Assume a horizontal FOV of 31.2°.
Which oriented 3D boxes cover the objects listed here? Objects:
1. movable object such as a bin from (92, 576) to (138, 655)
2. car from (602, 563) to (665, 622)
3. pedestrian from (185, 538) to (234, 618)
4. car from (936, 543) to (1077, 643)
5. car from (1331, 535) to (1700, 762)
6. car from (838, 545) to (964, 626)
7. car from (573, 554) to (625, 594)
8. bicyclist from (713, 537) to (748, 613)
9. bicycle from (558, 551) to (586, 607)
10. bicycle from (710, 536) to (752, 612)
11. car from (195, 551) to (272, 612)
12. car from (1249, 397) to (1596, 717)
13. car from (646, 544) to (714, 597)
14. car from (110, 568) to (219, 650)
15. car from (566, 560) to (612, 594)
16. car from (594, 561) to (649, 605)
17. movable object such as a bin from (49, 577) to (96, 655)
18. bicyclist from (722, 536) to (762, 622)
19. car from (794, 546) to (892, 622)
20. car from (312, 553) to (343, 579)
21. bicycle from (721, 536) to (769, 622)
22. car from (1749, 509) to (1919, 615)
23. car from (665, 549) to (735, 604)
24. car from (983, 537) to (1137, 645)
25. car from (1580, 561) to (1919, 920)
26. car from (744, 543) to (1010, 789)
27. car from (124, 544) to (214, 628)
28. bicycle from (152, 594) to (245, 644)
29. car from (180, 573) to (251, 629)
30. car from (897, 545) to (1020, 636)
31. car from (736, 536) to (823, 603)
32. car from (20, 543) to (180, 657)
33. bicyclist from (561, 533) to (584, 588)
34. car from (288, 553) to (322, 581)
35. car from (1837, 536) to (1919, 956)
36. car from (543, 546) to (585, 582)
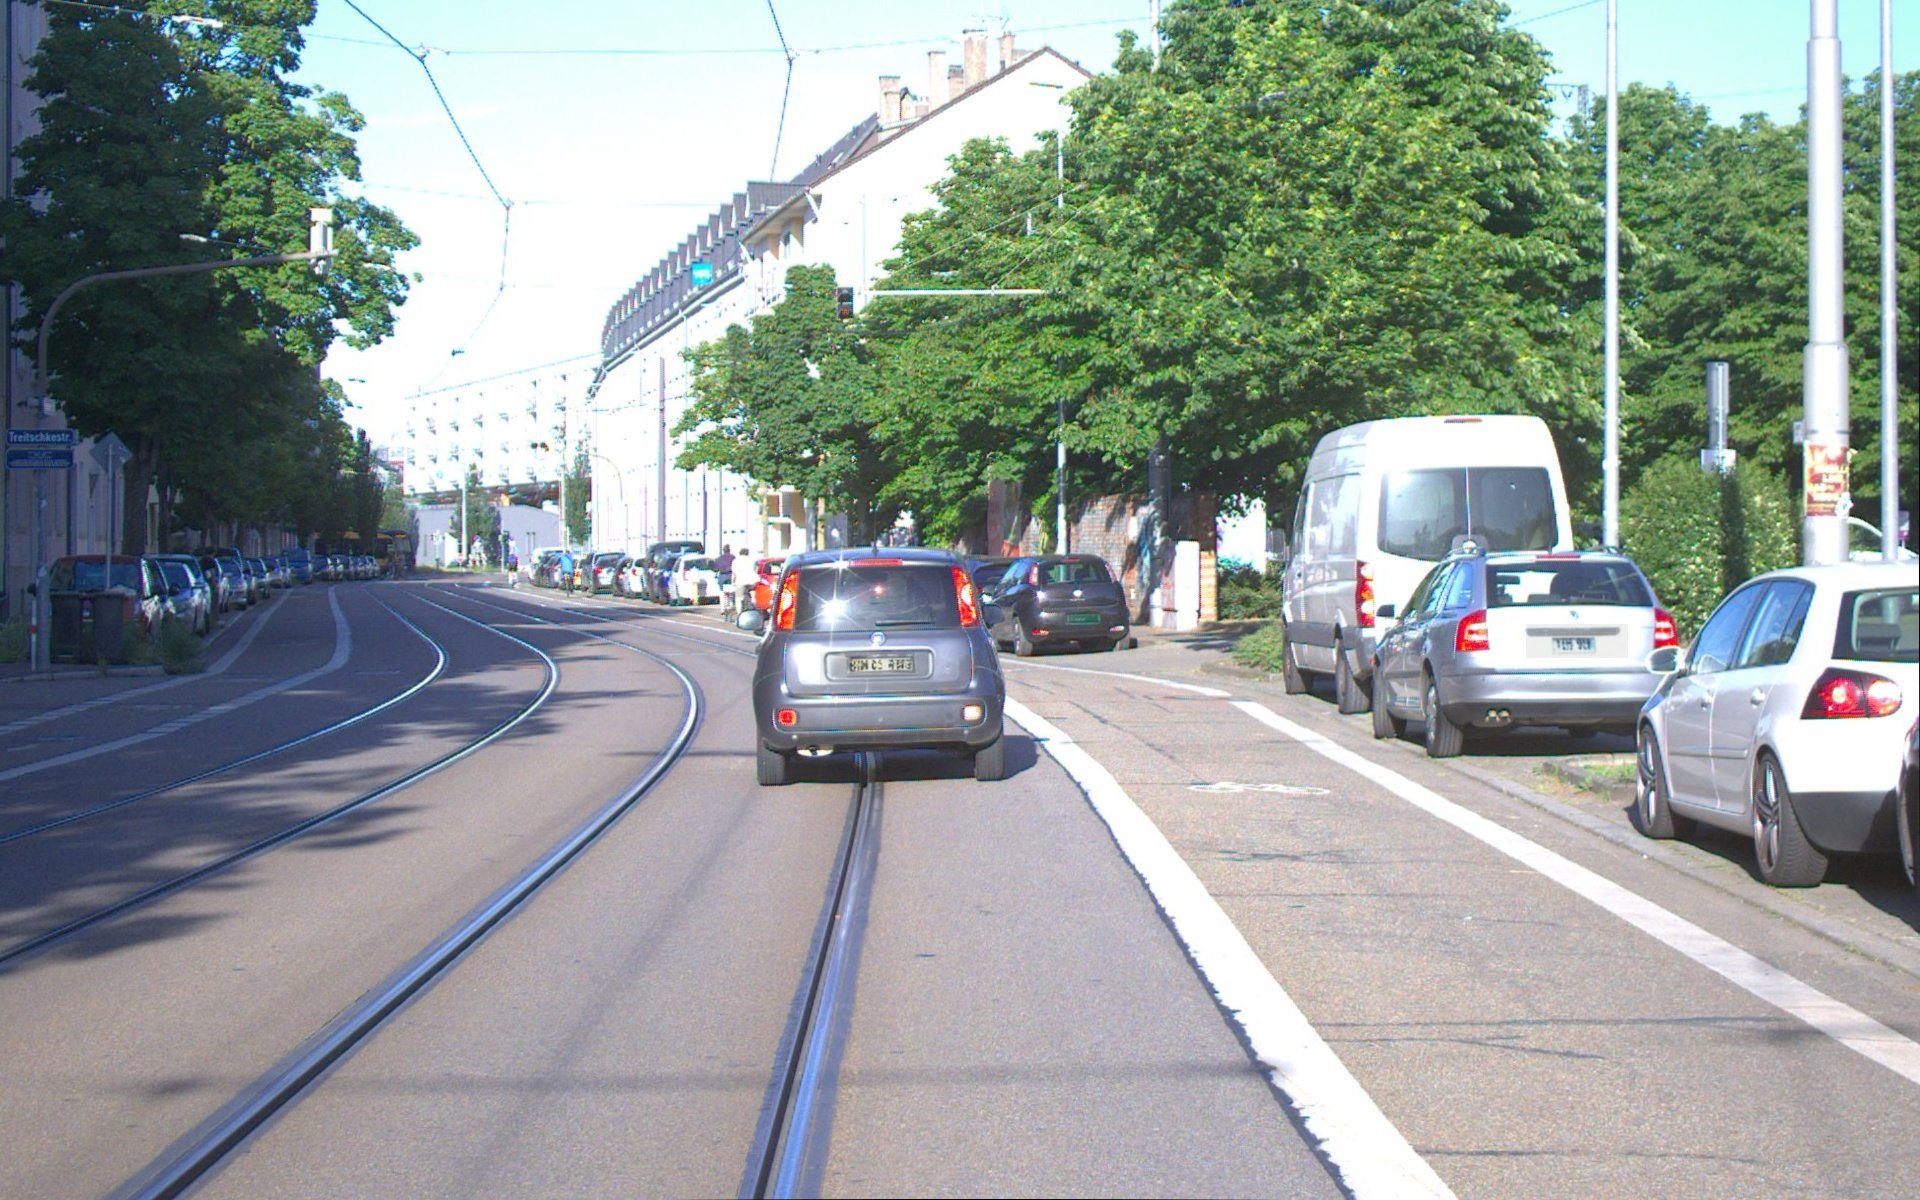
[{"bbox_3d":[-10.784,0.198,43.890,0.484,0.984,0.660,1,0,-8],"label":"movable object such as a bin"},{"bbox_3d":[-11.091,-0.278,116.628,1.655,1.937,4.666,1,1,-11],"label":"car"},{"bbox_3d":[-16.890,-0.496,77.354,0.849,1.770,0.735,-2,2,-30],"label":"pedestrian"},{"bbox_3d":[0.726,-0.135,56.319,1.688,1.525,4.356,-2,1,-7],"label":"car"},{"bbox_3d":[4.052,0.306,25.831,1.910,1.524,4.601,-1,1,-1],"label":"car"},{"bbox_3d":[-1.203,-0.300,68.415,1.688,1.525,4.001,-2,1,-13],"label":"car"},{"bbox_3d":[-13.774,-1.007,131.151,1.582,1.400,3.377,-4,1,-11],"label":"car"},{"bbox_3d":[-5.317,-0.584,79.642,0.699,1.753,0.758,1,0,-11],"label":"bicyclist"},{"bbox_3d":[-14.148,-0.766,125.332,0.741,2.007,2.812,1,1,-11],"label":"bicycle"},{"bbox_3d":[-5.309,-0.605,79.609,0.675,1.741,2.158,1,1,-11],"label":"bicycle"},{"bbox_3d":[-18.636,-0.488,88.300,1.808,1.503,4.192,1,1,-10],"label":"car"},{"bbox_3d":[4.232,-0.403,32.562,2.180,2.656,6.091,-2,1,-2],"label":"car"},{"bbox_3d":[-8.608,-0.914,105.447,1.655,1.566,3.877,1,1,-11],"label":"car"},{"bbox_3d":[-15.114,0.144,65.451,1.688,1.470,4.661,1,1,-9],"label":"car"},{"bbox_3d":[-15.446,-0.964,143.033,1.582,1.400,3.377,1,1,-11],"label":"car"},{"bbox_3d":[-12.008,-0.601,121.780,1.655,1.495,3.130,1,1,-11],"label":"car"},{"bbox_3d":[-11.302,0.202,43.785,0.484,0.984,0.660,1,0,-8],"label":"movable object such as a bin"},{"bbox_3d":[-4.473,-0.434,70.633,0.699,1.753,0.758,1,0,-11],"label":"bicyclist"},{"bbox_3d":[-2.536,-0.357,73.698,1.688,1.525,4.001,-2,1,-7],"label":"car"},{"bbox_3d":[-37.546,-2.024,204.053,1.706,1.491,3.723,1,1,-9],"label":"car"},{"bbox_3d":[-4.406,-0.436,70.421,0.675,1.741,2.158,1,1,-11],"label":"bicycle"},{"bbox_3d":[18.180,-0.785,68.797,4.279,2.007,1.774,-2,1,-6],"label":"car"},{"bbox_3d":[-7.662,-0.712,101.052,1.655,1.566,3.500,1,1,-11],"label":"car"},{"bbox_3d":[1.470,-0.159,51.867,1.688,1.525,4.001,-2,1,-7],"label":"car"},{"bbox_3d":[4.366,0.578,16.636,1.727,1.507,4.252,1,1,-3],"label":"car"},{"bbox_3d":[-0.538,0.382,23.508,1.650,1.536,4.235,0,1,-1],"label":"car"},{"bbox_3d":[-16.305,-0.307,70.756,1.651,1.662,4.297,1,1,-15],"label":"car"},{"bbox_3d":[-16.445,0.414,74.290,1.924,1.042,0.476,1,0,-9],"label":"bicycle"},{"bbox_3d":[-21.218,0.013,98.095,1.808,1.503,4.682,1,1,-10],"label":"car"},{"bbox_3d":[-0.060,-0.197,61.496,1.688,1.525,4.001,-2,1,-7],"label":"car"},{"bbox_3d":[-4.389,-0.744,83.057,1.635,1.503,3.398,-3,1,-10],"label":"car"},{"bbox_3d":[-12.122,-0.020,48.669,1.688,1.525,4.001,1,1,-7],"label":"car"},{"bbox_3d":[-14.136,-1.440,125.458,0.715,2.007,0.832,1,0,-11],"label":"bicyclist"},{"bbox_3d":[-35.877,-1.793,188.356,1.706,1.491,3.723,1,1,-9],"label":"car"},{"bbox_3d":[4.510,0.539,11.928,1.728,1.599,4.343,-2,1,-1],"label":"car"},{"bbox_3d":[-17.932,-1.620,155.576,1.582,1.593,3.377,1,1,-11],"label":"car"}]
